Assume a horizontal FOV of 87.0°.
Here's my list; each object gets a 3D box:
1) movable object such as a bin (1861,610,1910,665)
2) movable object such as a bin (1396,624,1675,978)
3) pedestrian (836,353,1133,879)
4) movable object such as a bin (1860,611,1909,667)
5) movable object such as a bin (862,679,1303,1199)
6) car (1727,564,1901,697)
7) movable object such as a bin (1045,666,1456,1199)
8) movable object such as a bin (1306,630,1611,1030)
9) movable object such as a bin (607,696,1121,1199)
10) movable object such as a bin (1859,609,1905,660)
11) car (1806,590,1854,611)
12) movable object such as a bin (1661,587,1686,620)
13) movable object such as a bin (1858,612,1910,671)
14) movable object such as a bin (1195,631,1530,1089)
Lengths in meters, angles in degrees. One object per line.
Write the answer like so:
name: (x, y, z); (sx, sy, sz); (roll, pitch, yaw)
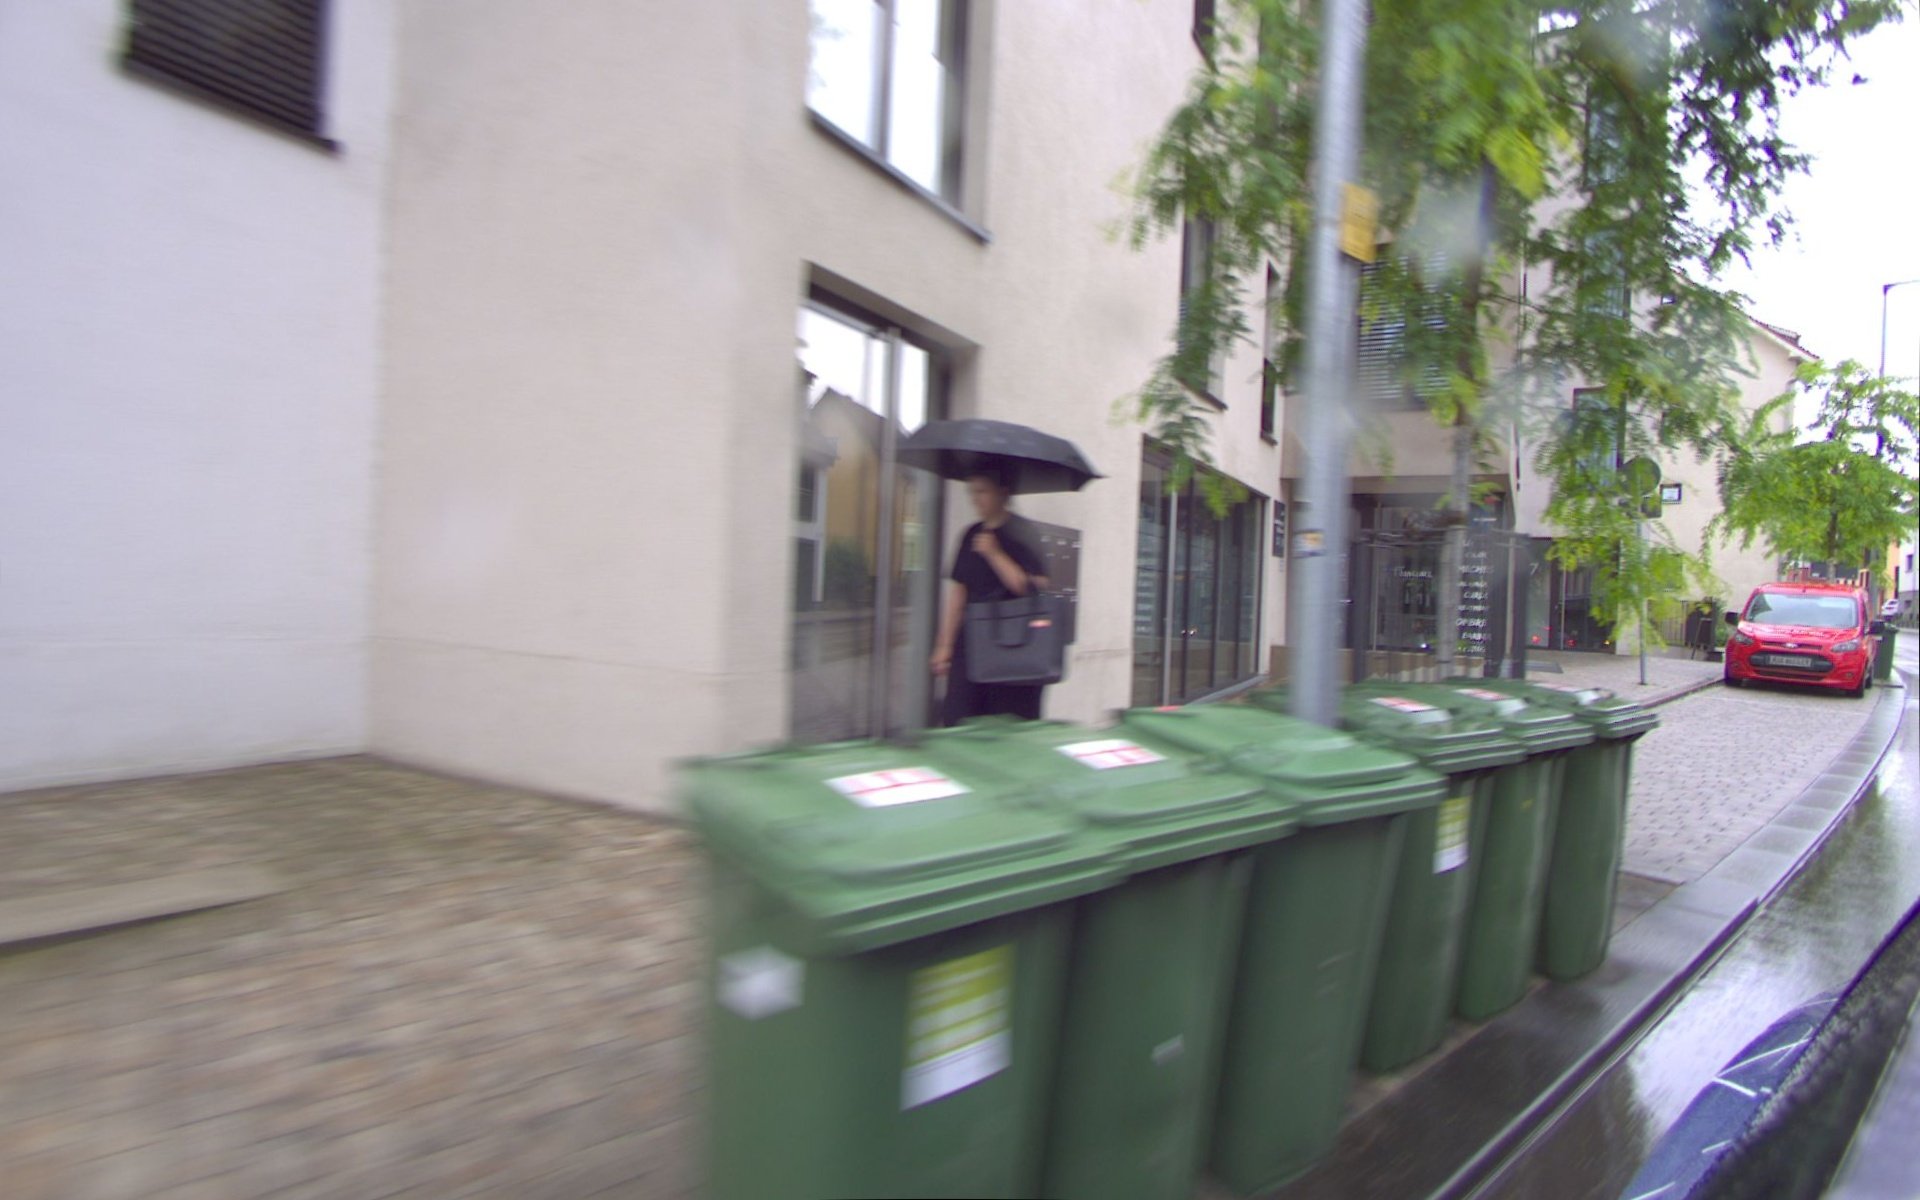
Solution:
movable object such as a bin: (19.724, 0.792, 21.581); (0.708, 1.101, 0.592); (3, 2, 41)
movable object such as a bin: (2.275, 0.717, 4.031); (0.619, 1.185, 0.754); (0, 2, -37)
pedestrian: (0.123, 0.051, 4.606); (0.867, 2.039, 1.065); (1, 1, 44)
movable object such as a bin: (19.152, 0.802, 20.964); (0.709, 1.101, 0.592); (3, 2, 44)
movable object such as a bin: (0.240, 0.775, 2.143); (0.566, 1.132, 0.725); (1, 0, -40)
car: (14.748, 0.405, 17.385); (1.837, 1.930, 4.530); (4, 4, 45)
movable object such as a bin: (0.707, 0.769, 2.525); (0.613, 1.132, 0.763); (1, 0, -40)
movable object such as a bin: (1.771, 0.732, 3.633); (0.619, 1.185, 0.754); (0, 2, -37)
movable object such as a bin: (-0.192, 0.781, 1.754); (0.566, 1.132, 0.725); (1, 0, -40)
movable object such as a bin: (20.840, 0.774, 22.887); (0.708, 1.101, 0.592); (3, 2, 41)
car: (65.971, -0.003, 76.802); (1.983, 1.463, 3.958); (1, 2, 30)
movable object such as a bin: (28.081, 0.128, 39.812); (0.579, 1.199, 0.715); (4, 4, 23)
movable object such as a bin: (18.295, 0.809, 20.044); (0.709, 1.101, 0.592); (3, 2, 44)
movable object such as a bin: (1.266, 0.722, 3.235); (0.619, 1.185, 0.754); (0, 2, -37)
